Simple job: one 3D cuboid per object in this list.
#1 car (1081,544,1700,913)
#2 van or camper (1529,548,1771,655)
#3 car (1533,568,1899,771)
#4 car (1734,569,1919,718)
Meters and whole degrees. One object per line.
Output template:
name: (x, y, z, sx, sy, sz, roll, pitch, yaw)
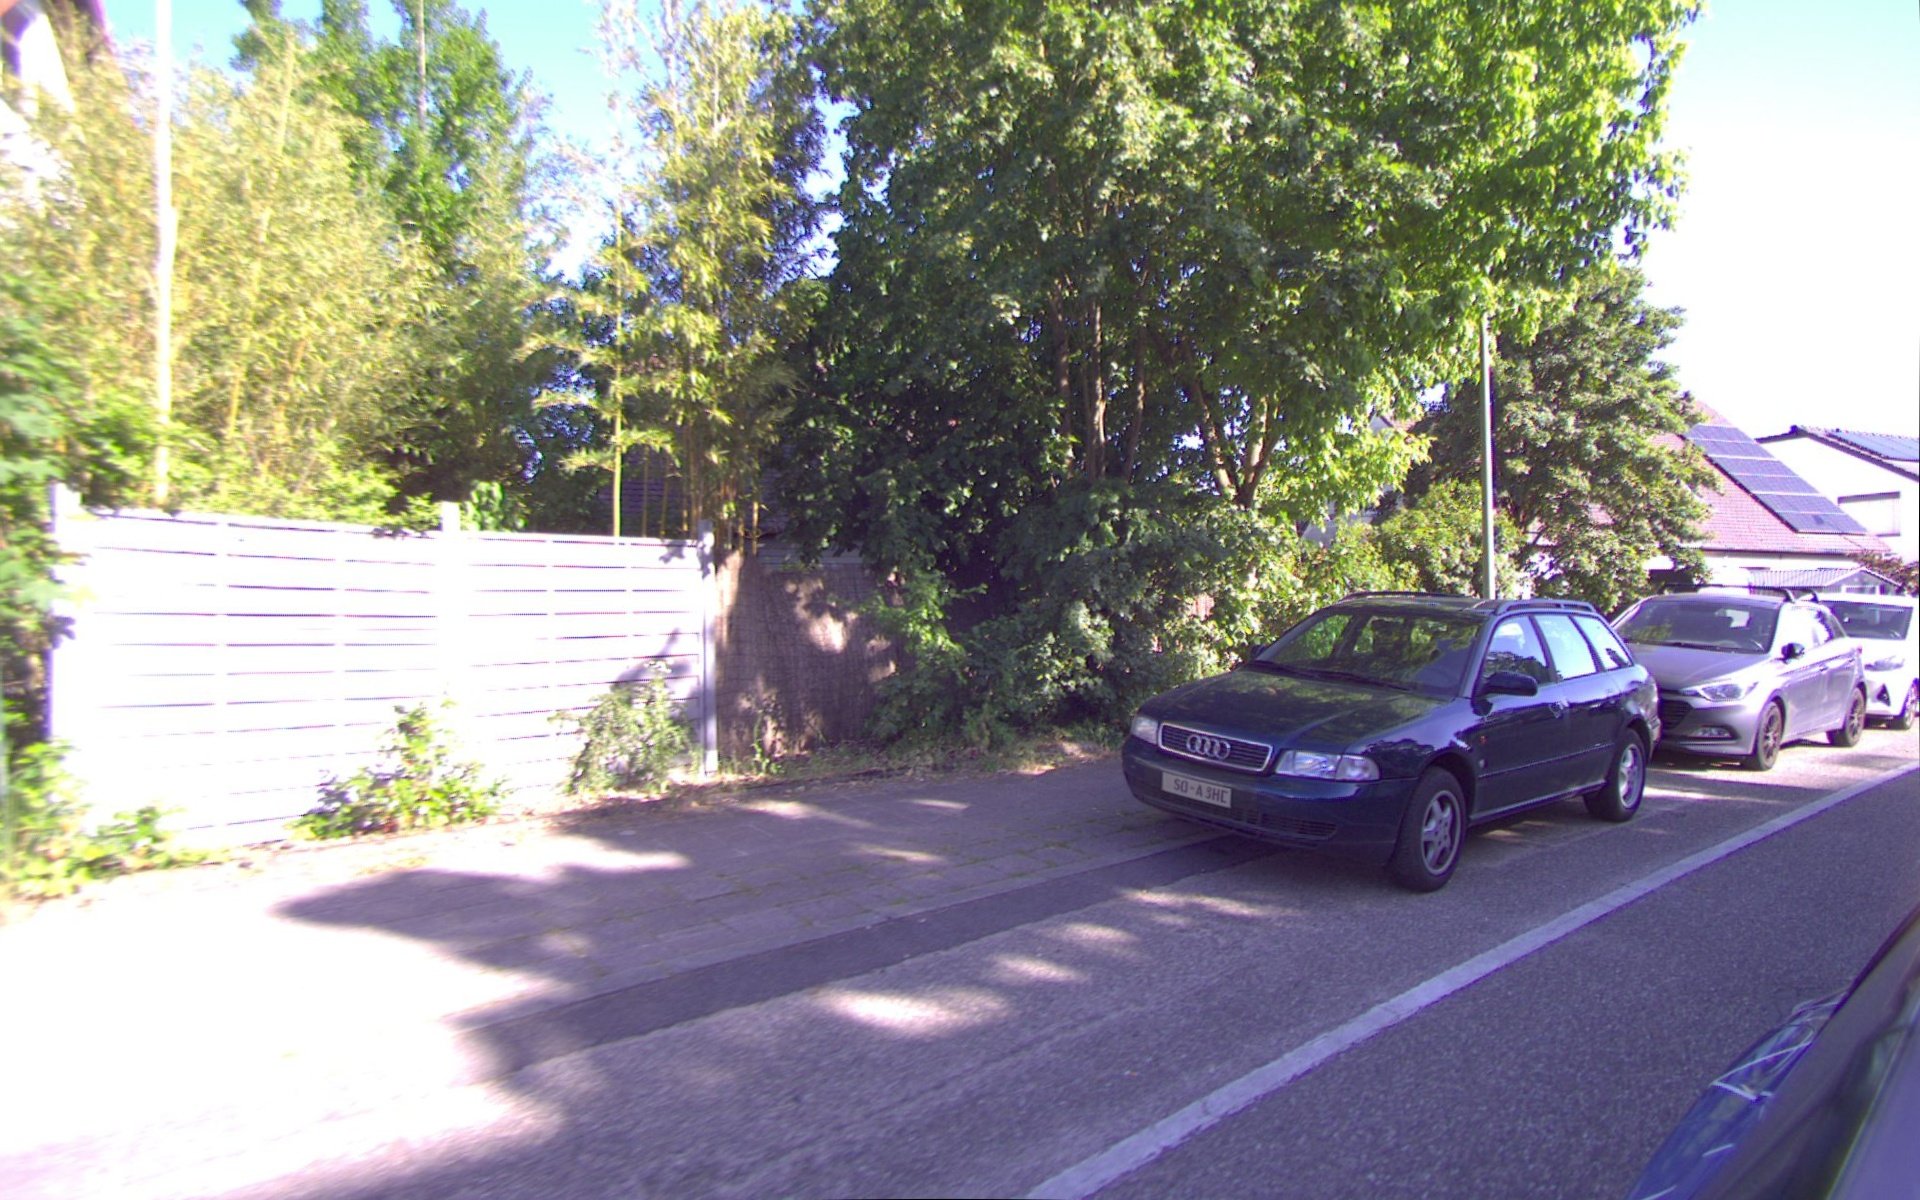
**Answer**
car: (2.910, 0.552, 6.362, 4.382, 1.583, 1.658, 0, -1, -38)
van or camper: (14.470, 0.039, 21.493, 1.909, 2.039, 3.861, 0, 0, -19)
car: (7.471, 0.529, 9.894, 3.924, 1.593, 1.725, 0, 2, -35)
car: (11.432, 0.448, 12.671, 3.632, 1.593, 1.639, 0, 2, -33)
